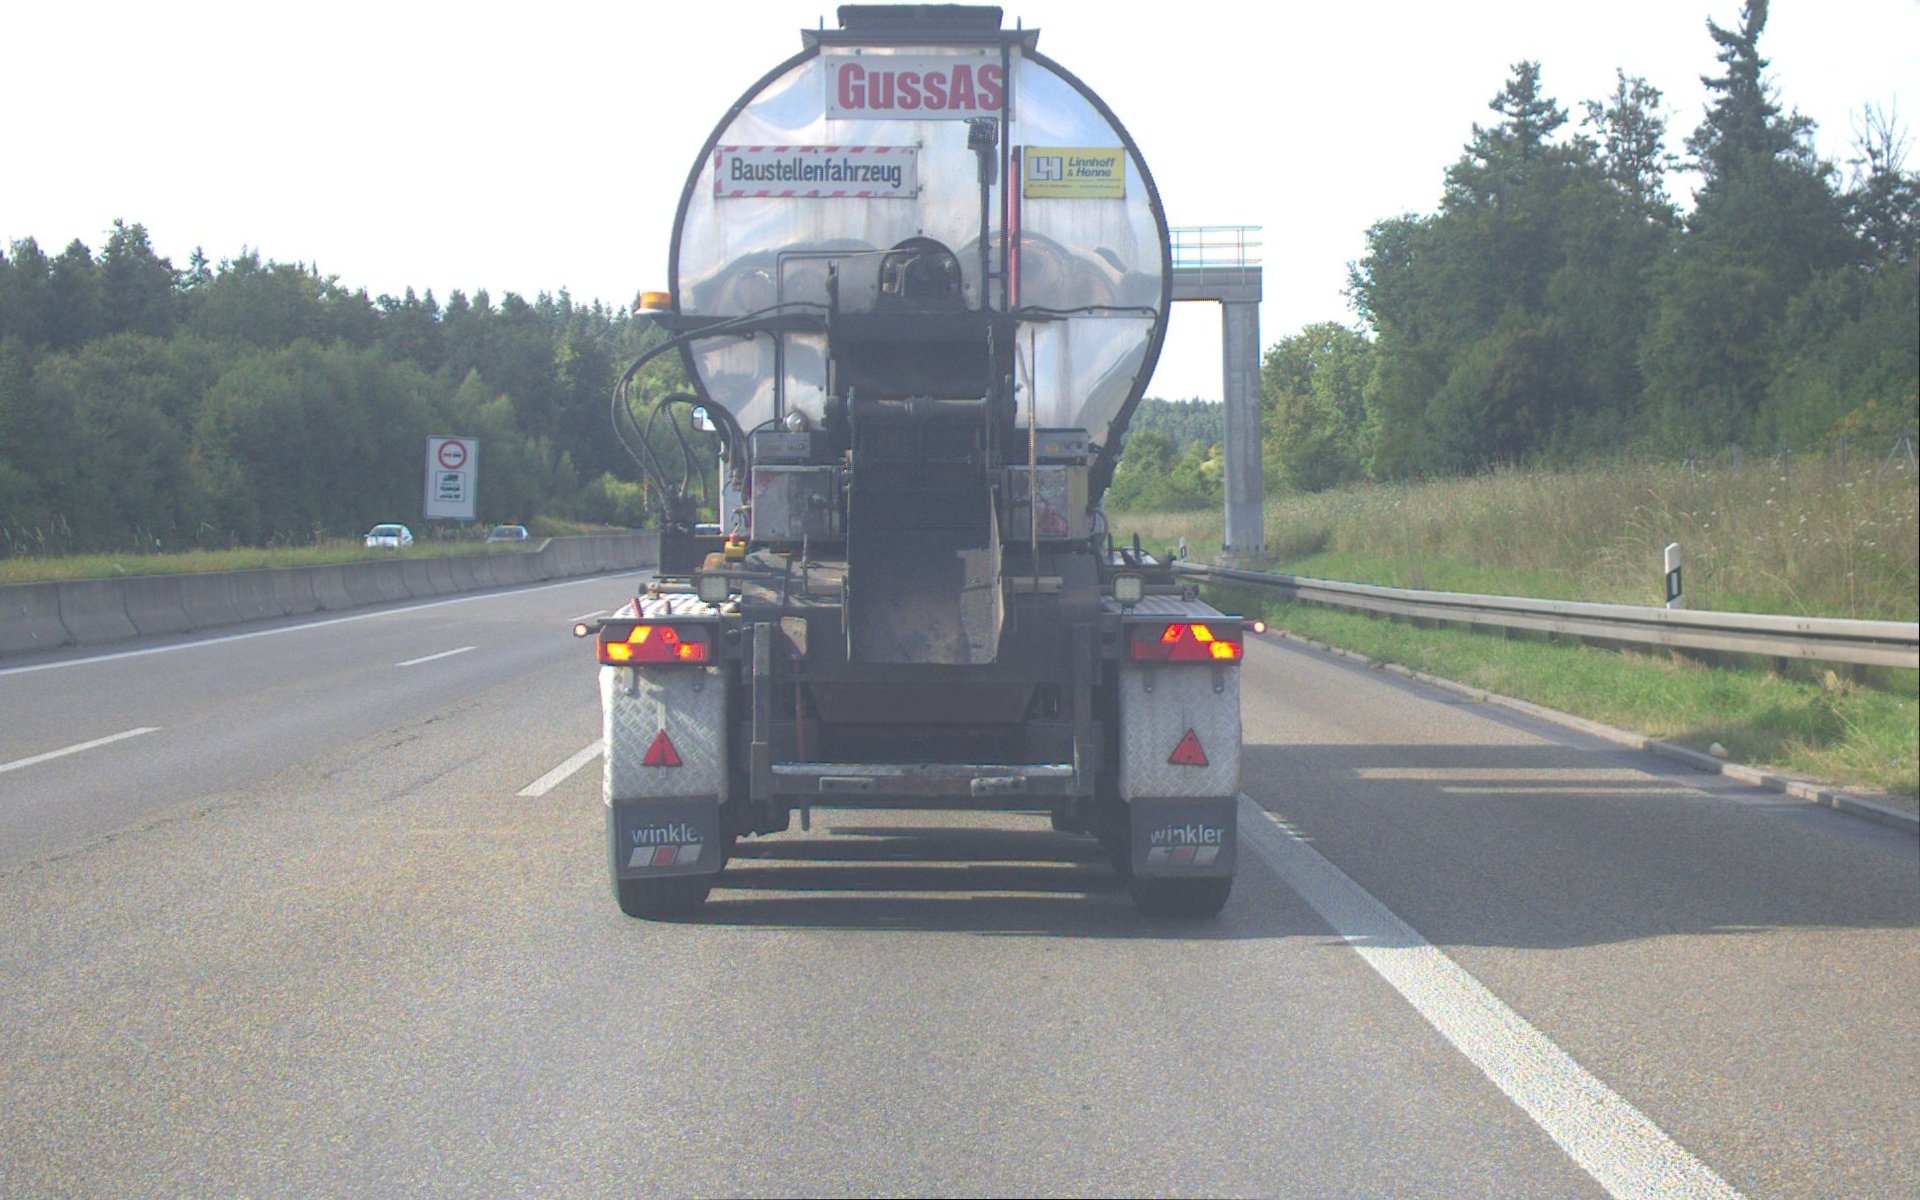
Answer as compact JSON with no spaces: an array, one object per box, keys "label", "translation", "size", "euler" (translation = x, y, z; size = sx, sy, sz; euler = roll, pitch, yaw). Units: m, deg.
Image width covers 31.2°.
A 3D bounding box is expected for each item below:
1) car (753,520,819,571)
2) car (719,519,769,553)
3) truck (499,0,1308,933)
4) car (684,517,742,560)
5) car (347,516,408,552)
[{"label":"car","translation":[-5.243,-1.659,103.819],"size":[1.835,1.512,4.333],"euler":[0,1,-1]},{"label":"car","translation":[-9.046,-2.688,144.235],"size":[1.856,1.426,4.841],"euler":[0,1,-1]},{"label":"truck","translation":[-0.251,-0.995,18.072],"size":[2.912,4.143,11.270],"euler":[0,1,0]},{"label":"car","translation":[-8.944,-2.243,124.520],"size":[1.835,1.512,4.333],"euler":[0,1,-1]},{"label":"car","translation":[-25.053,-2.860,148.013],"size":[1.950,1.534,4.327],"euler":[0,1,0]}]
